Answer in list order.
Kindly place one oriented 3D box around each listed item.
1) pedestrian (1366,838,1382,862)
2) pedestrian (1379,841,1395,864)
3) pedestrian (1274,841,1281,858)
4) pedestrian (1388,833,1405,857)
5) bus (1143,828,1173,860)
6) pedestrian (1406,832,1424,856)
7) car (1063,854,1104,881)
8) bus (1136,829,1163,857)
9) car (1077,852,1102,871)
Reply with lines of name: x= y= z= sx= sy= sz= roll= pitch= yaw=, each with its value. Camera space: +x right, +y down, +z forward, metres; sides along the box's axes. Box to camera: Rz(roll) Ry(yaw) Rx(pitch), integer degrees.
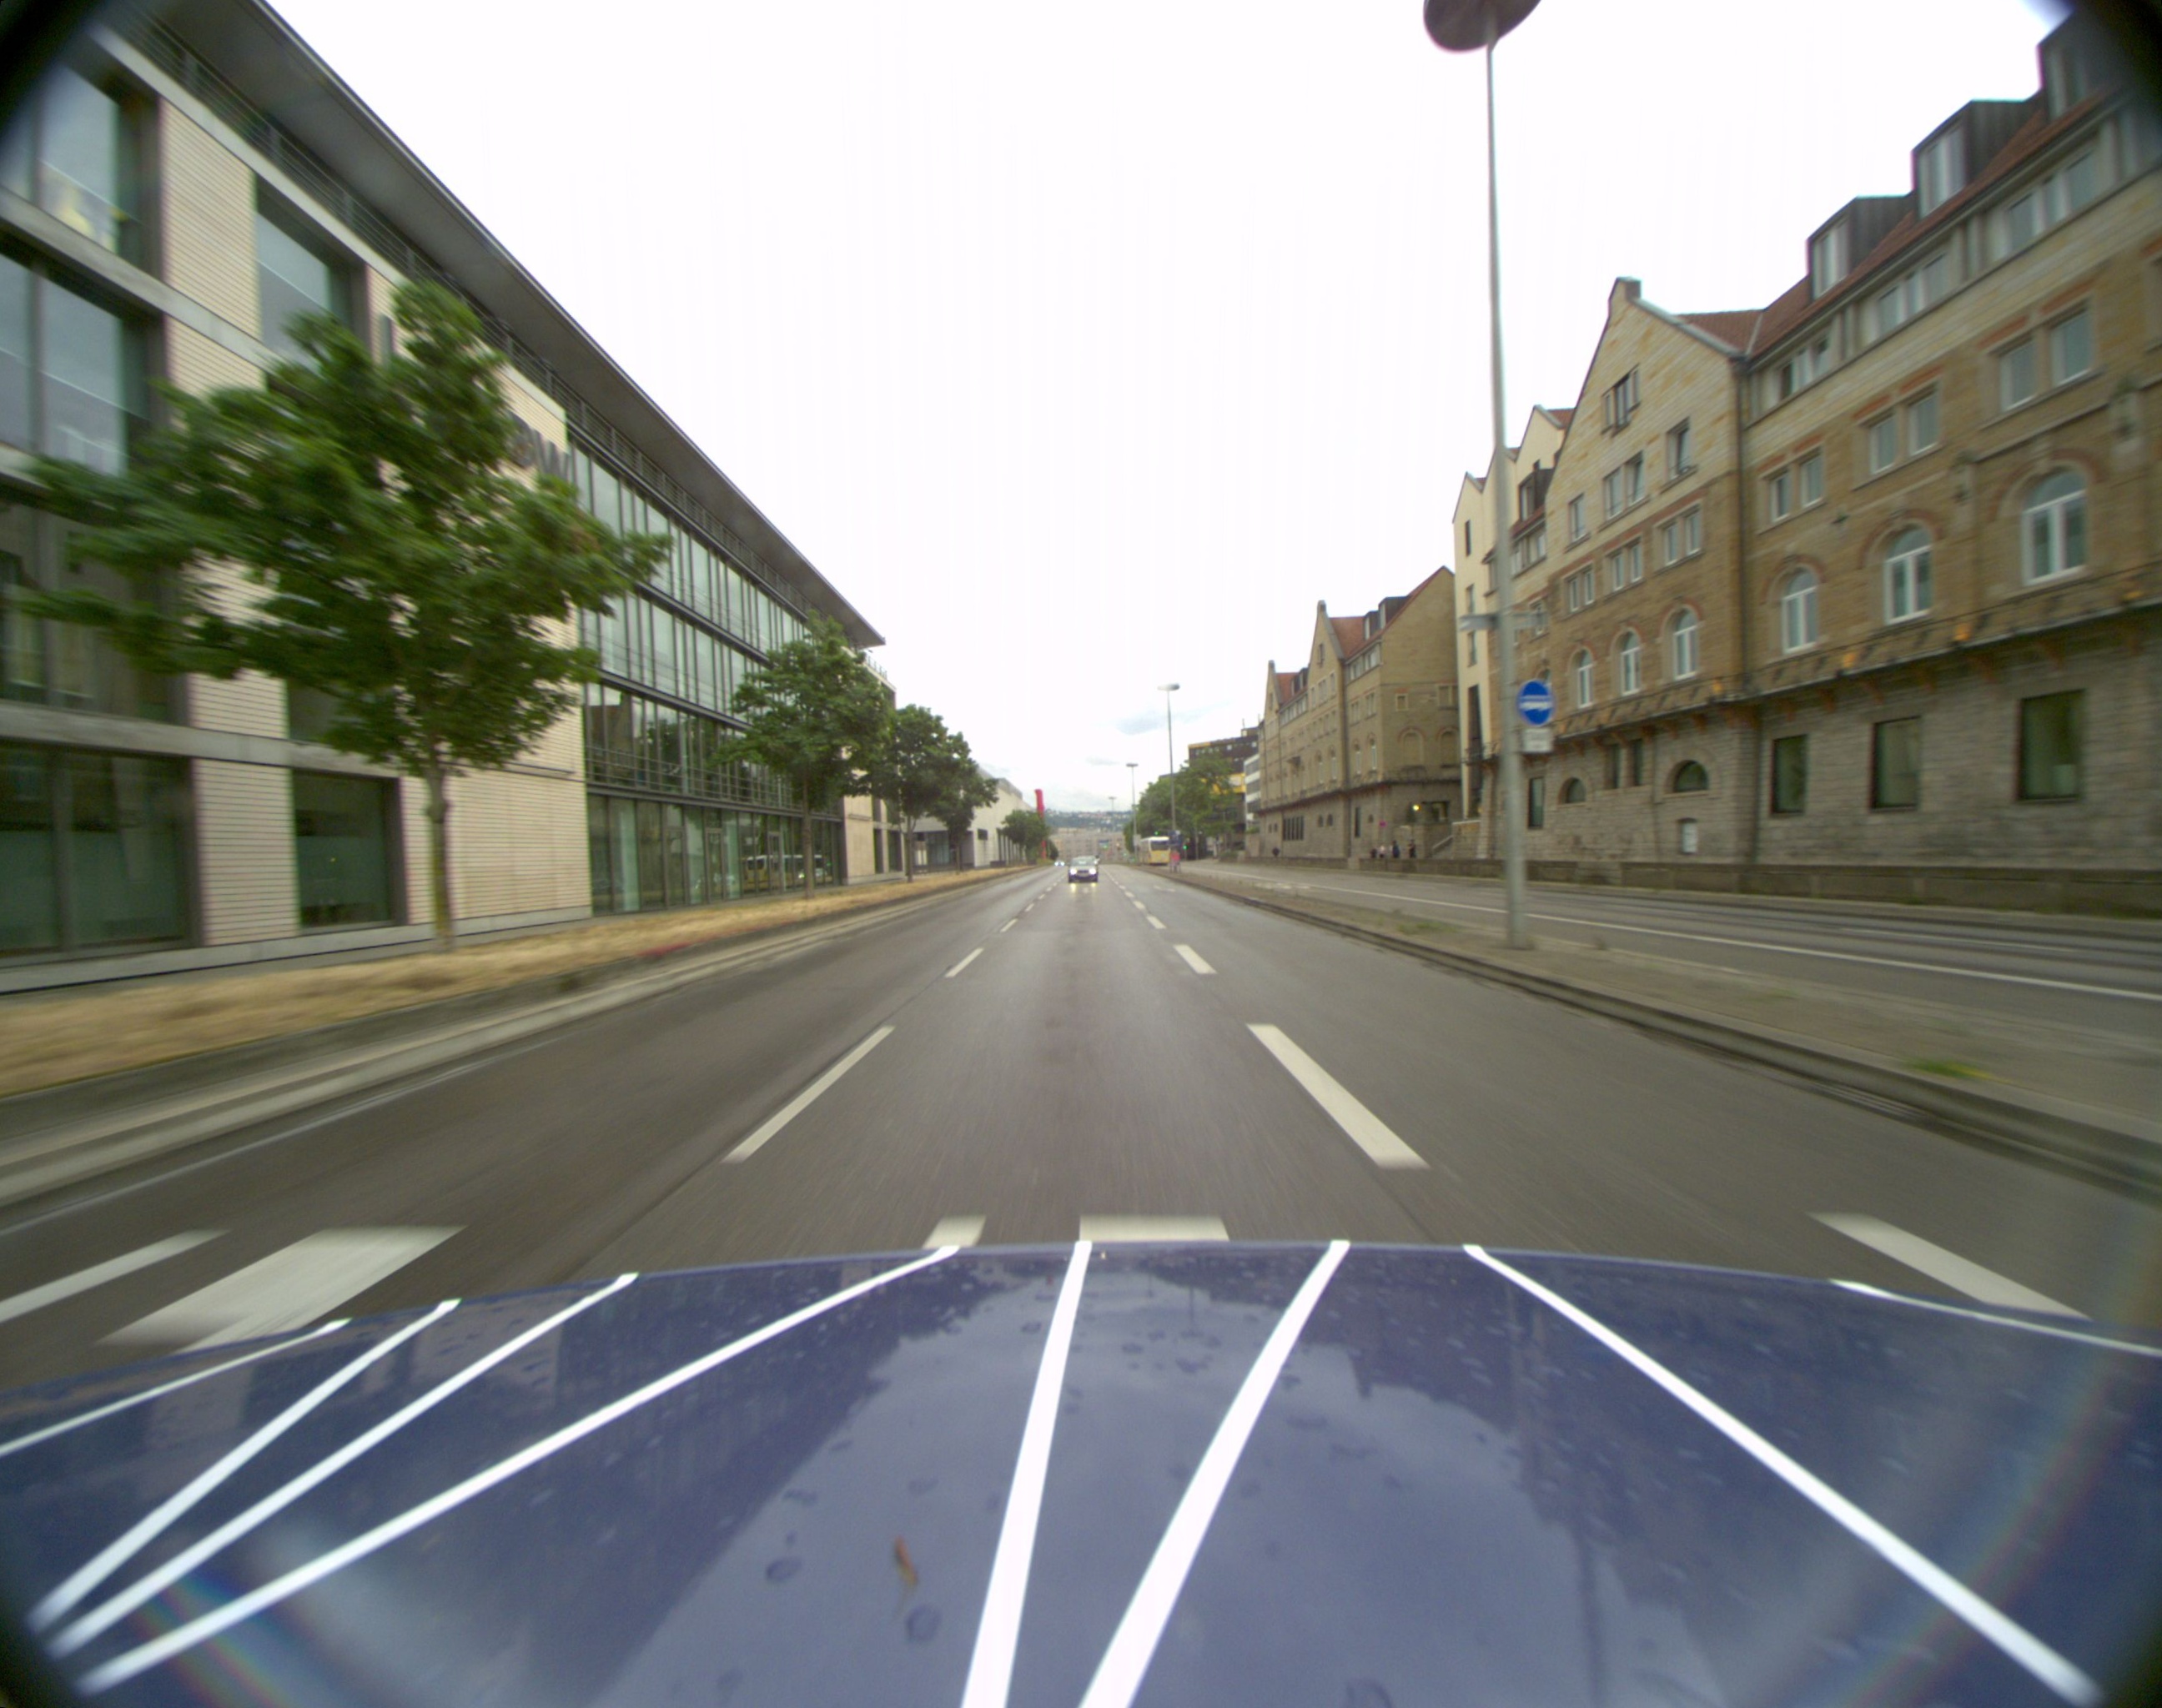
pedestrian: x=18.718 y=-0.245 z=48.546 sx=0.756 sy=1.469 sz=0.714 roll=-1 pitch=-1 yaw=0
pedestrian: x=19.543 y=-0.096 z=48.550 sx=0.756 sy=1.469 sz=0.714 roll=-1 pitch=-1 yaw=0
pedestrian: x=20.529 y=-0.476 z=79.466 sx=0.641 sy=1.735 sz=0.622 roll=-1 pitch=-1 yaw=15
pedestrian: x=19.970 y=-0.550 z=48.122 sx=0.756 sy=1.469 sz=0.714 roll=-1 pitch=-1 yaw=0
bus: x=9.280 y=-1.202 z=92.667 sx=2.705 sy=3.539 sz=10.092 roll=-1 pitch=1 yaw=0
pedestrian: x=20.811 y=-0.642 z=47.343 sx=0.756 sy=1.469 sz=0.714 roll=-1 pitch=-1 yaw=0
car: x=0.200 y=0.744 z=44.927 sx=1.862 sy=1.428 sz=4.207 roll=-2 pitch=0 yaw=7
bus: x=9.166 y=-1.466 z=102.876 sx=2.705 sy=3.538 sz=10.093 roll=-1 pitch=0 yaw=0
car: x=0.657 y=0.599 z=61.636 sx=1.863 sy=1.449 sz=4.204 roll=-2 pitch=0 yaw=-1
